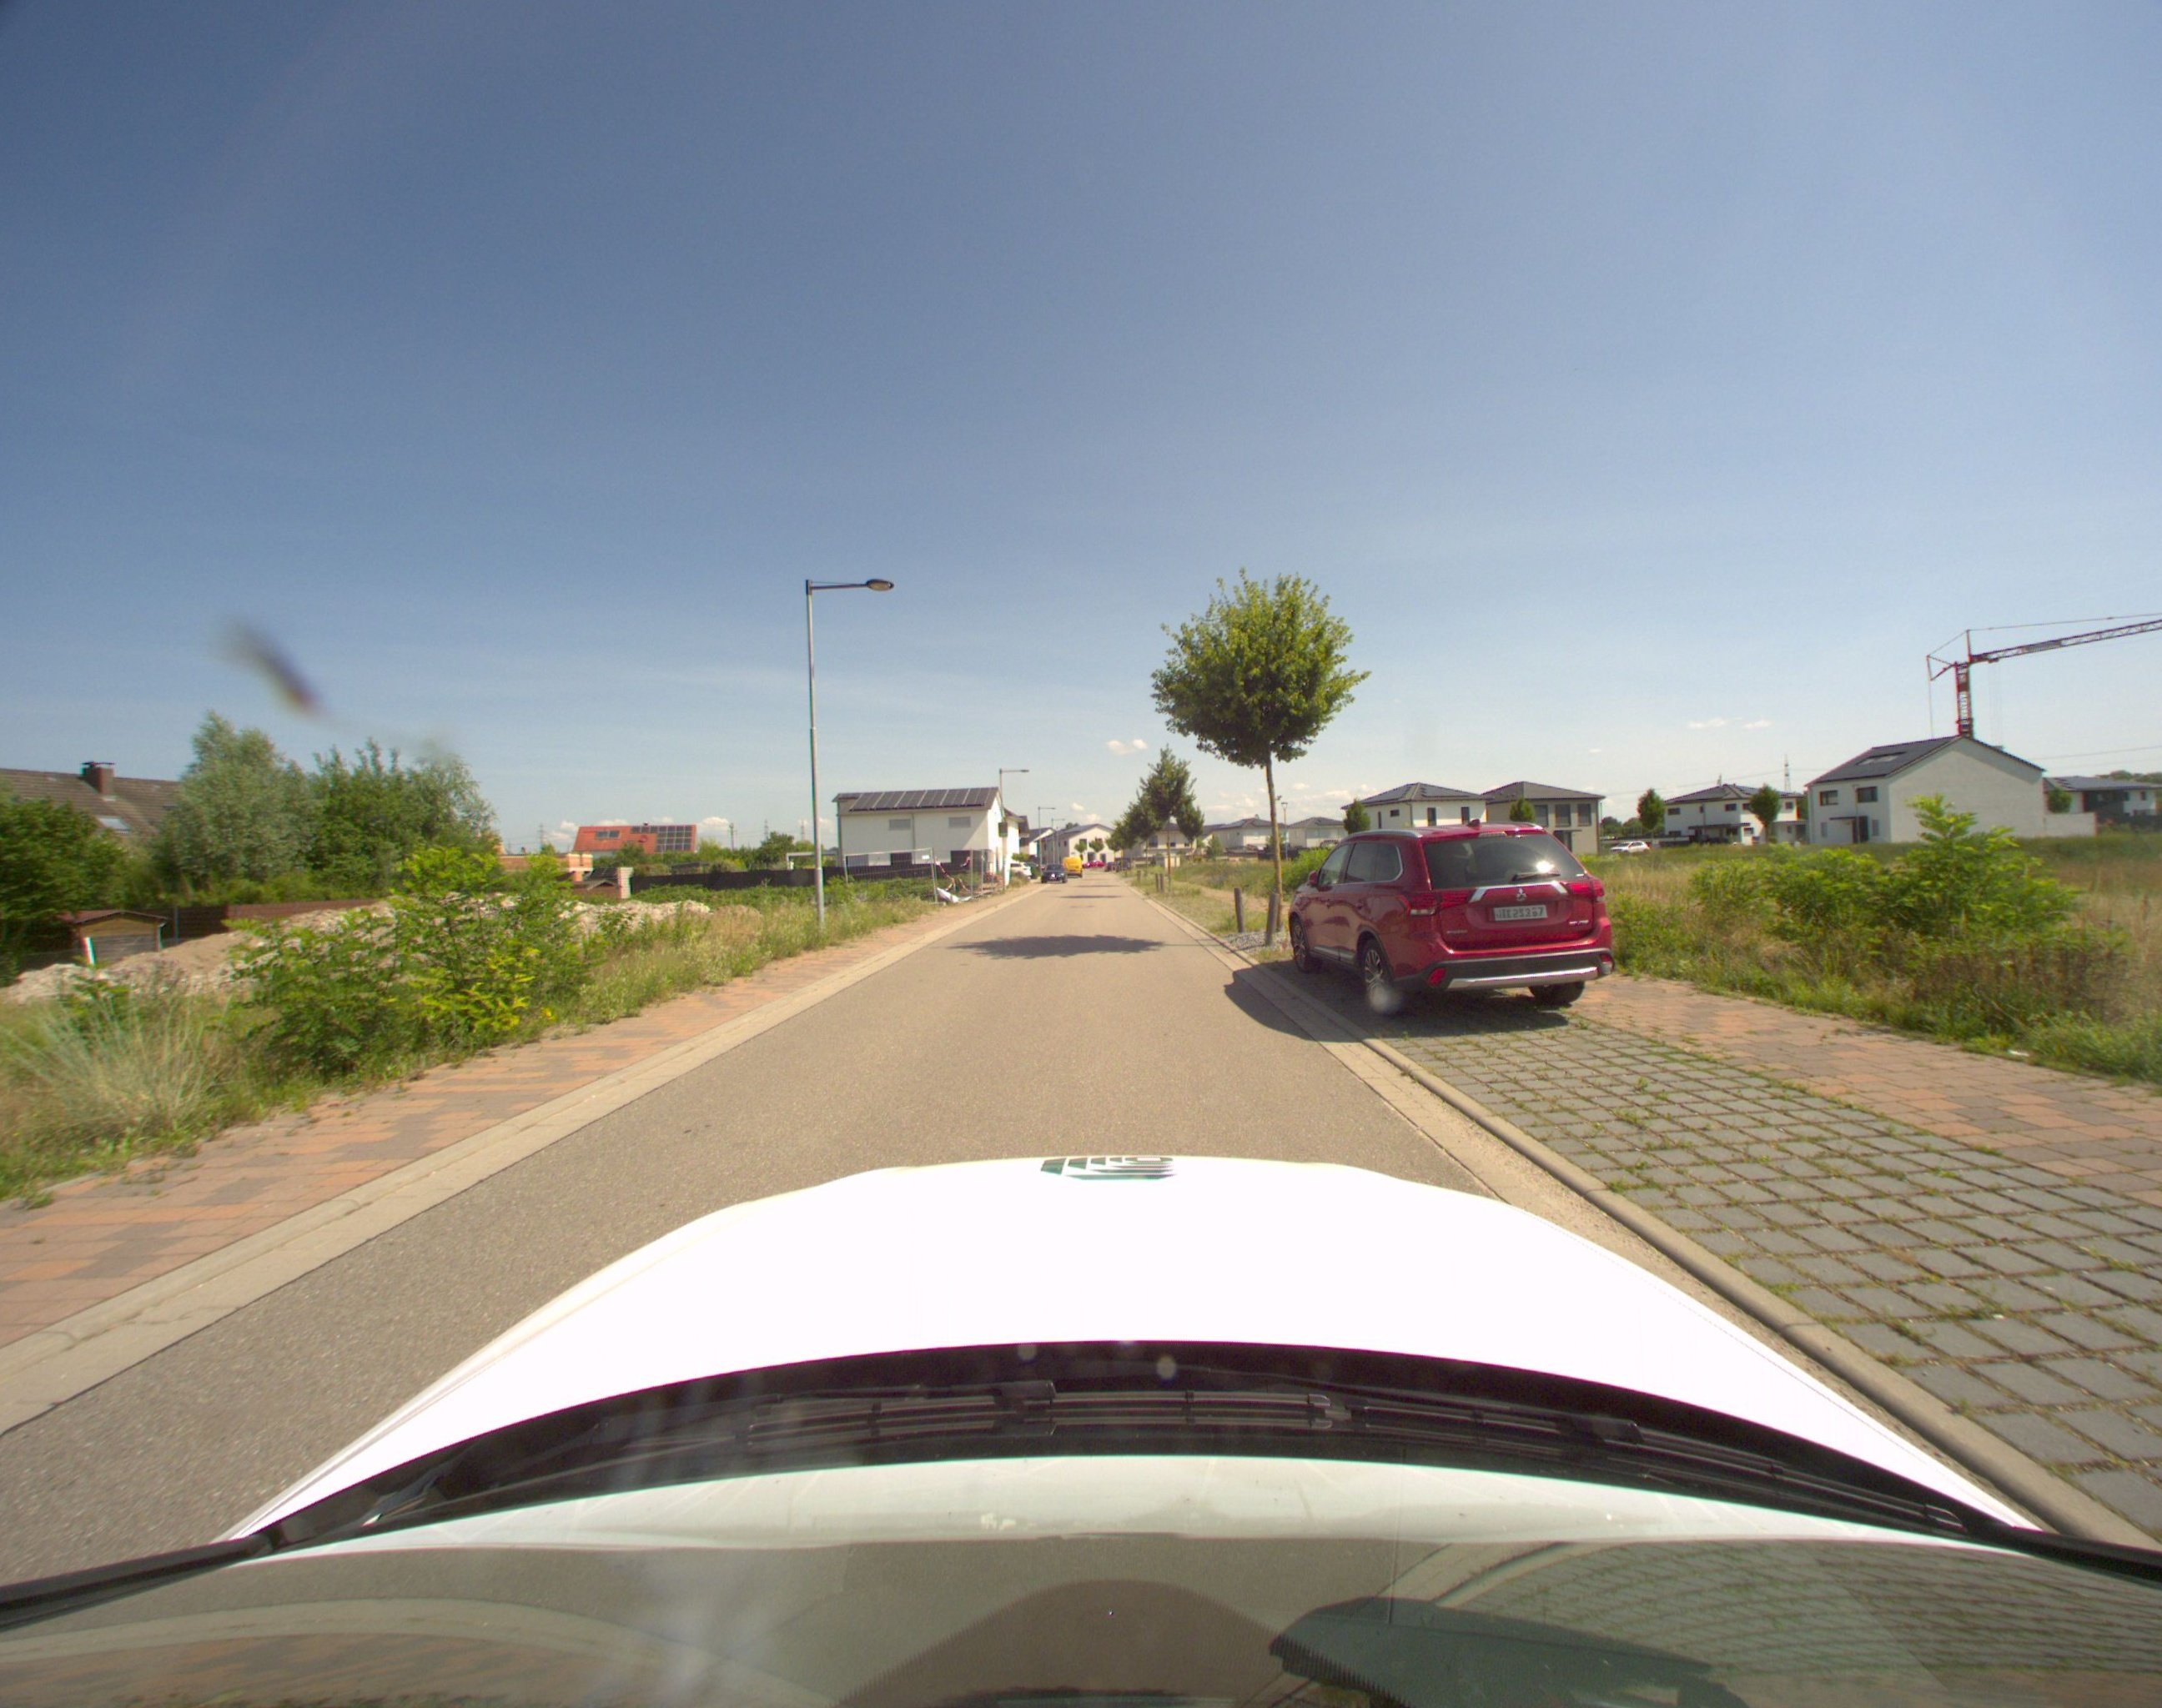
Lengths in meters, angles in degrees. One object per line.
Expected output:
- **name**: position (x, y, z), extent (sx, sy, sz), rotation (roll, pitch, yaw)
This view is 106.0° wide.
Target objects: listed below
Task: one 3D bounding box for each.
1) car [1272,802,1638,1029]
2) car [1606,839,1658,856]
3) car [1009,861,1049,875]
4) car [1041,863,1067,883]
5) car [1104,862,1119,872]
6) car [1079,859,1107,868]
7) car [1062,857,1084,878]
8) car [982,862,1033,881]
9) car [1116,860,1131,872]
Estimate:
- **car**: position (3.444, 0.481, 8.580), extent (1.771, 1.663, 4.434), rotation (-3, 0, 0)
- **car**: position (51.324, -0.620, 75.868), extent (3.991, 1.398, 1.742), rotation (-2, -2, -13)
- **car**: position (-5.870, 1.578, 91.405), extent (4.168, 1.505, 1.806), rotation (2, -2, -15)
- **car**: position (-1.972, 1.401, 60.502), extent (1.739, 1.405, 4.160), rotation (0, -1, 1)
- **car**: position (4.492, 1.867, 119.257), extent (1.625, 1.322, 3.825), rotation (-2, -3, -6)
- **car**: position (2.266, 1.759, 151.394), extent (4.714, 1.432, 1.981), rotation (-1, -2, -30)
- **car**: position (-0.797, 1.331, 80.622), extent (1.937, 1.981, 4.212), rotation (-2, -2, -3)
- **car**: position (-6.392, 1.514, 71.030), extent (4.047, 1.581, 1.787), rotation (-1, 0, 6)
- **car**: position (5.282, 1.507, 100.636), extent (1.634, 1.403, 3.810), rotation (-2, -2, 0)
